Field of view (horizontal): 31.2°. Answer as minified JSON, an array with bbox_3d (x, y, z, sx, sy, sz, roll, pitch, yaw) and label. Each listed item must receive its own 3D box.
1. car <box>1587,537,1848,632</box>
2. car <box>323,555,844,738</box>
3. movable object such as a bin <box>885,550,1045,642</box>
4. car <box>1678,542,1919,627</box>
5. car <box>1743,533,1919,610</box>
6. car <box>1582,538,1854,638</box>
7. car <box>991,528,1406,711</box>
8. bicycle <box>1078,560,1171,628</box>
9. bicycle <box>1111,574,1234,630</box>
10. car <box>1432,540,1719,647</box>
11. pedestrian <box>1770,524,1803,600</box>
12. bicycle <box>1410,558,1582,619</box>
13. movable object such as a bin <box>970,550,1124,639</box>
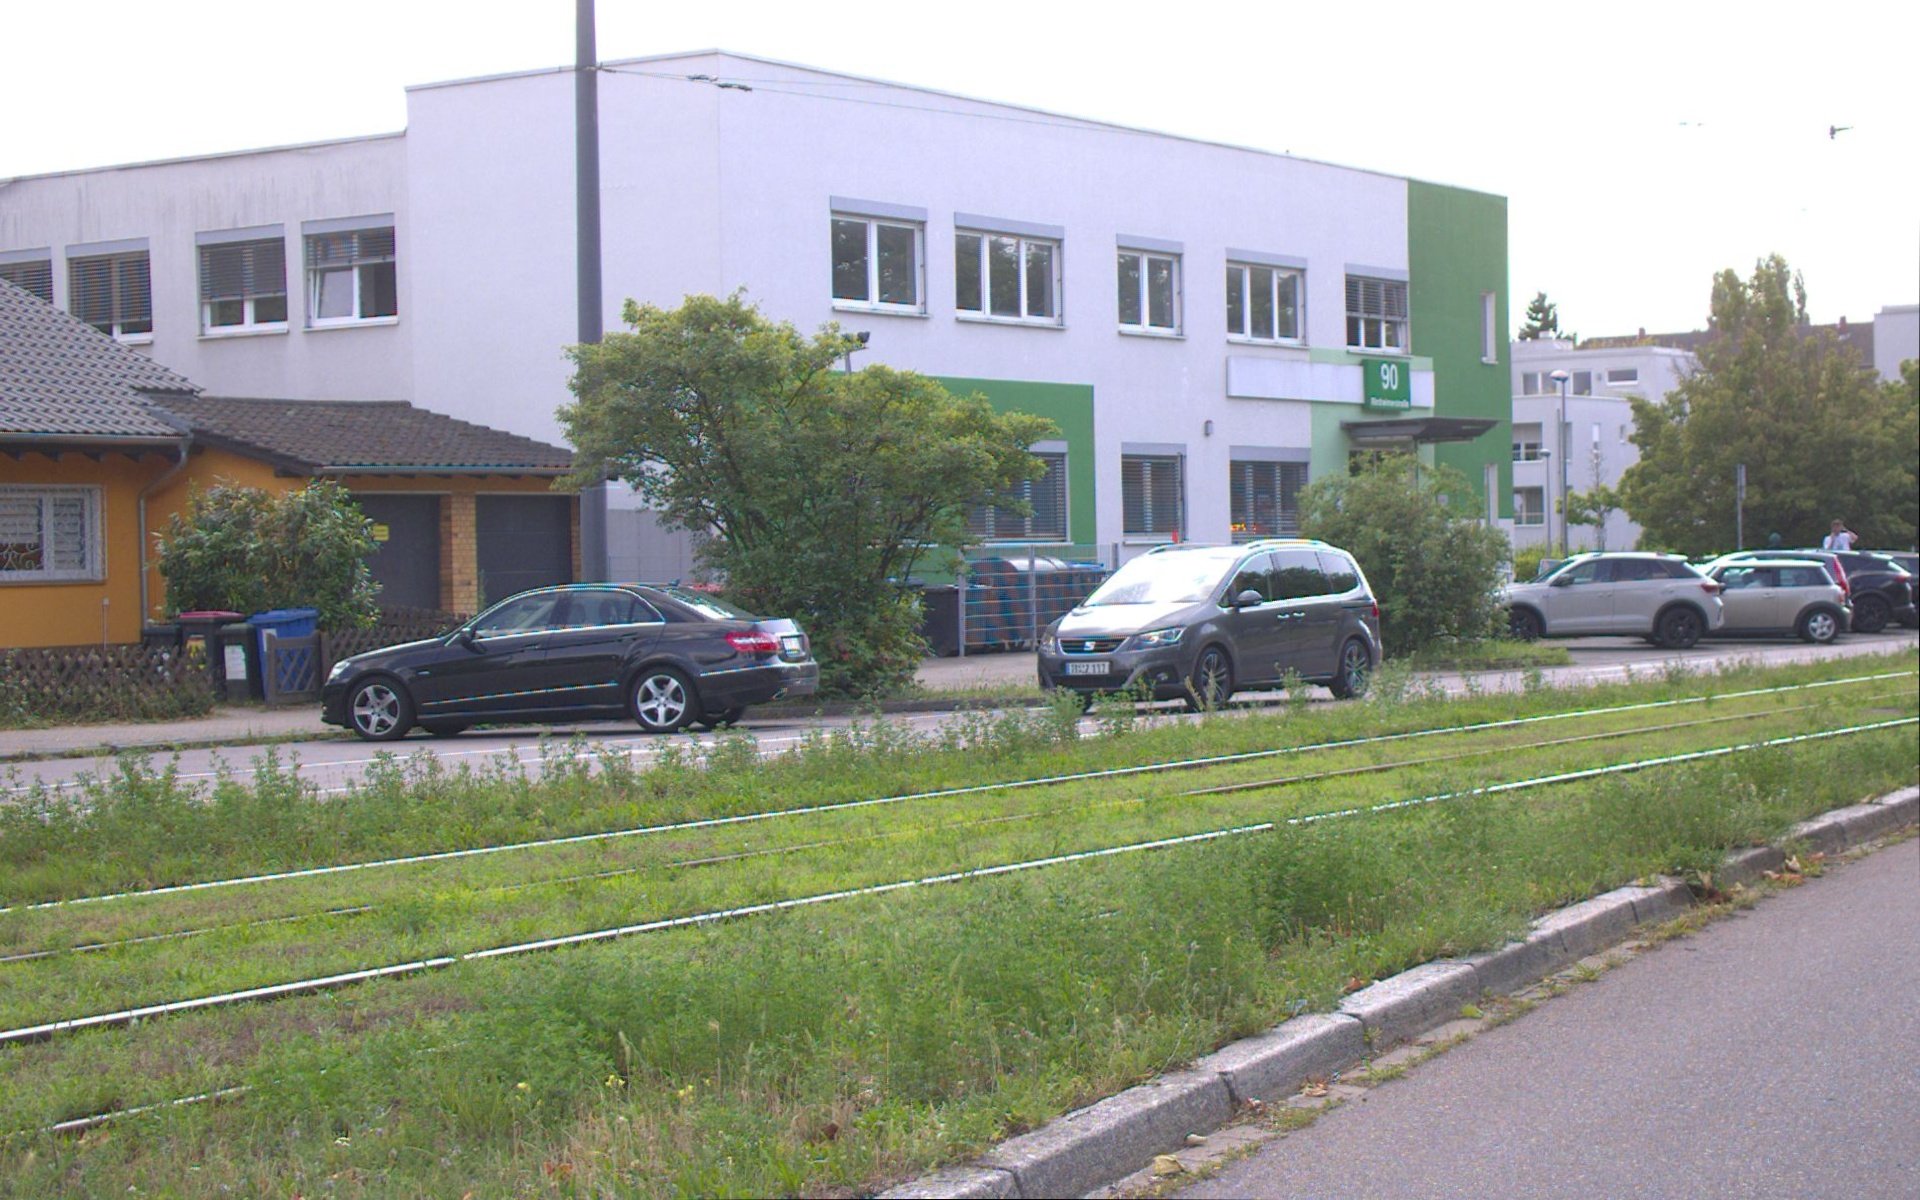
[{"bbox_3d":[13.342,-0.283,60.718,4.302,1.623,1.902,0,1,6],"label":"car"},{"bbox_3d":[-3.621,0.441,33.360,4.567,1.575,1.999,-2,1,14],"label":"car"},{"bbox_3d":[0.087,-0.066,51.415,1.375,1.322,2.112,-1,1,37],"label":"movable object such as a bin"},{"bbox_3d":[15.377,-0.289,63.079,4.157,1.498,1.860,0,1,6],"label":"car"},{"bbox_3d":[17.819,-0.576,68.740,4.159,1.498,1.860,0,1,12],"label":"car"},{"bbox_3d":[12.774,-0.213,58.159,4.302,1.623,1.902,0,1,6],"label":"car"},{"bbox_3d":[2.528,0.150,35.353,1.998,1.716,4.731,-1,1,37],"label":"car"},{"bbox_3d":[2.888,-0.108,60.388,0.704,1.162,1.620,-2,1,-40],"label":"bicycle"},{"bbox_3d":[3.798,0.044,61.624,2.157,0.967,0.729,-1,1,38],"label":"bicycle"},{"bbox_3d":[9.935,-0.119,55.708,4.301,1.623,1.902,-1,1,1],"label":"car"},{"bbox_3d":[18.446,-0.851,76.716,0.596,1.669,0.540,-1,1,25],"label":"pedestrian"},{"bbox_3d":[10.569,-0.225,67.887,3.139,1.162,1.140,-1,1,30],"label":"bicycle"},{"bbox_3d":[1.354,-0.088,53.196,1.375,1.322,2.127,-1,1,37],"label":"movable object such as a bin"}]
